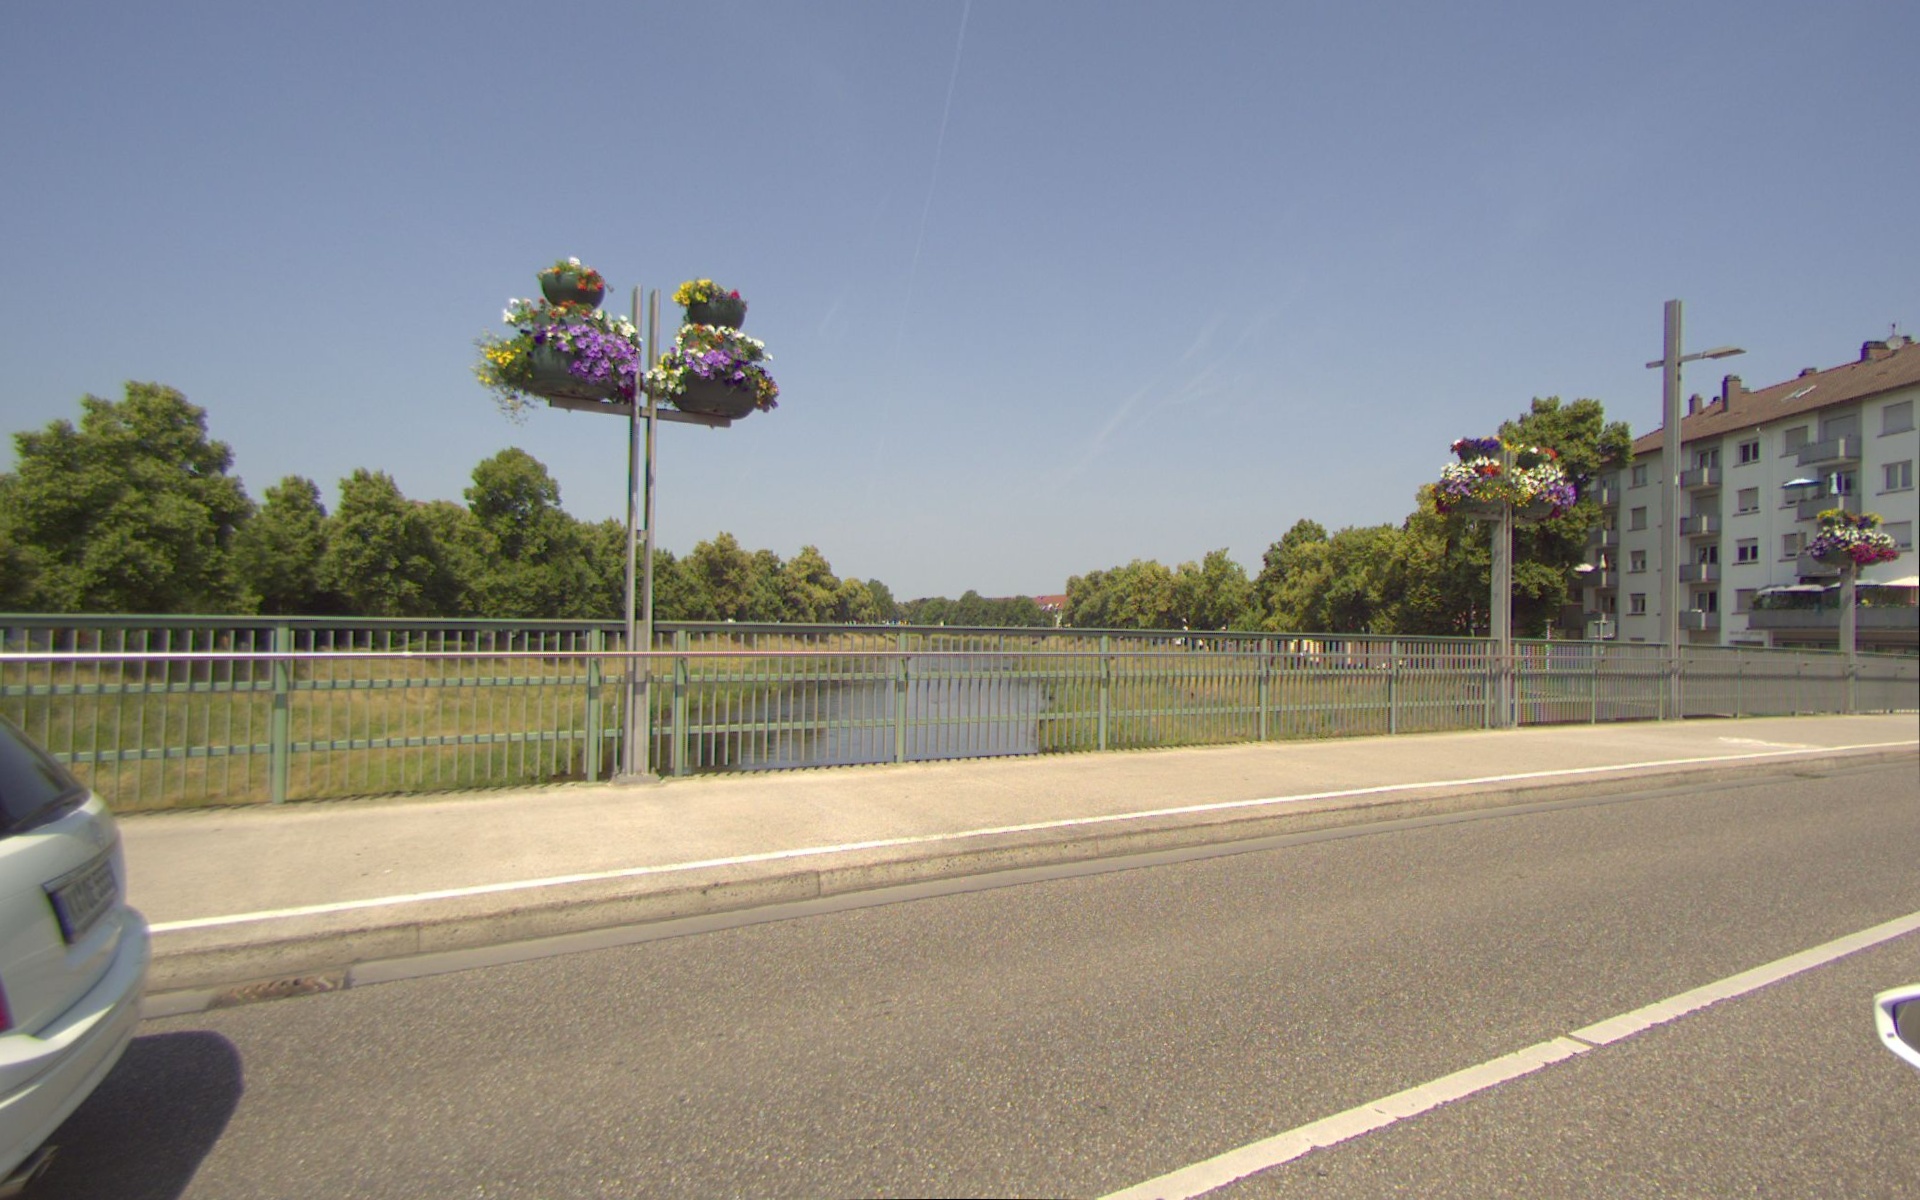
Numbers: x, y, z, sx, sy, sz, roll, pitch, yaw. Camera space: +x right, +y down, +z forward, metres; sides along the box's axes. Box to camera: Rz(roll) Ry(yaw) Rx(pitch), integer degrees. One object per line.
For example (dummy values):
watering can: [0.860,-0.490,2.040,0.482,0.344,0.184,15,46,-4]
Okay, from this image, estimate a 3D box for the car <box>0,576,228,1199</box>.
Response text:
car: [-4.099,0.751,1.505,4.658,1.451,1.836,0,-3,-30]
